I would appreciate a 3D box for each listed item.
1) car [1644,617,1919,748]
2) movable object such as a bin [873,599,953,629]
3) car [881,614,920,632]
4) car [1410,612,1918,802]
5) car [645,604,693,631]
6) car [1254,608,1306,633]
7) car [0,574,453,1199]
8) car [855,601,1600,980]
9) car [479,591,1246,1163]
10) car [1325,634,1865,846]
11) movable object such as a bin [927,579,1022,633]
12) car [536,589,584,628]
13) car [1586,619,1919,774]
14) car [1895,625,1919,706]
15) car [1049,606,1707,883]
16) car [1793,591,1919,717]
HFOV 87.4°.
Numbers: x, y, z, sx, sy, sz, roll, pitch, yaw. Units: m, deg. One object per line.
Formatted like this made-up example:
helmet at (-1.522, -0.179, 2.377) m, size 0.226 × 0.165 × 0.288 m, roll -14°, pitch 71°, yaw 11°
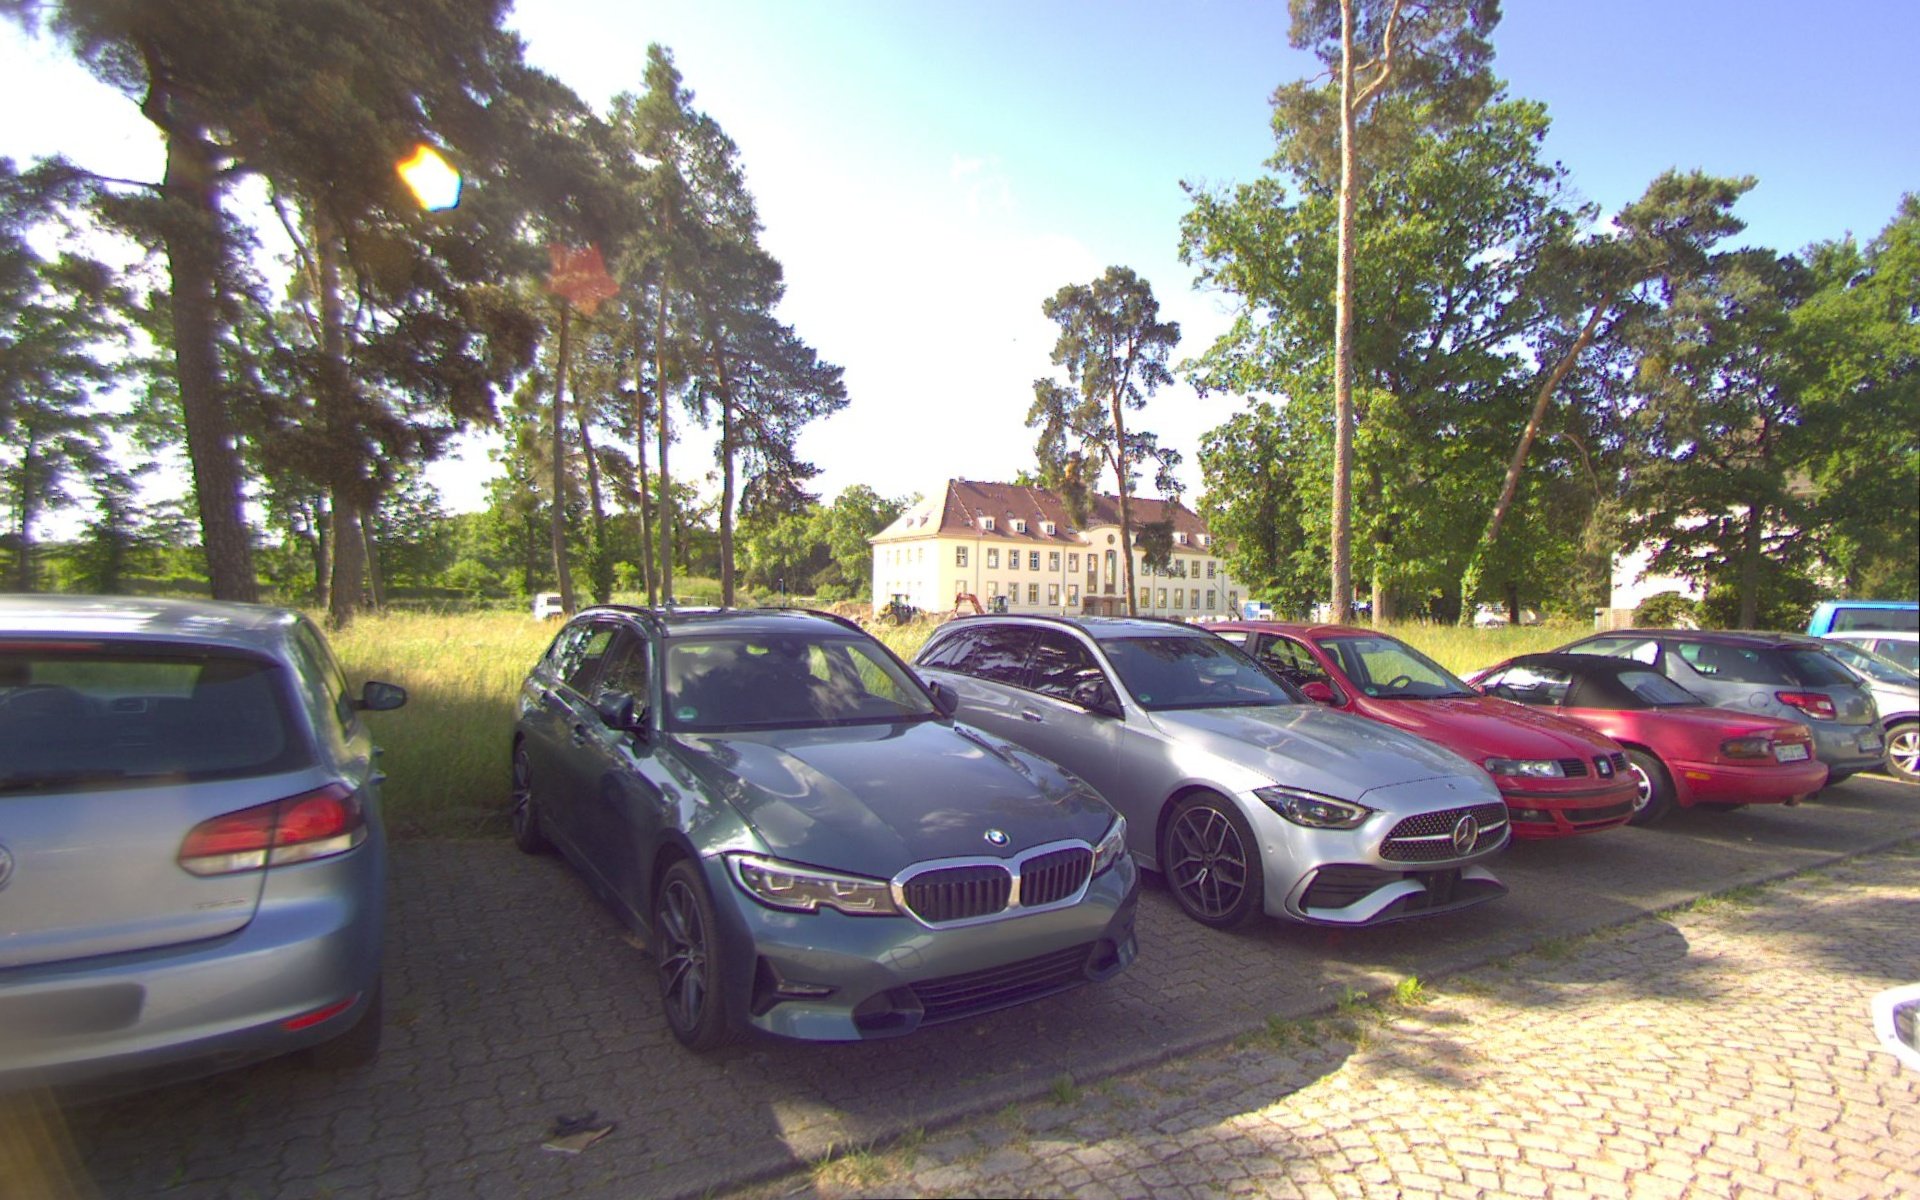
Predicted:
car at (12.095, 1.073, 13.714) m, size 1.803 × 1.495 × 4.174 m, roll 1°, pitch 1°, yaw -31°
movable object such as a bin at (-3.581, 1.092, 76.876) m, size 5.565 × 2.154 × 2.530 m, roll 1°, pitch -1°, yaw 15°
car at (-6.357, 2.449, 106.739) m, size 1.982 × 1.879 × 4.084 m, roll 2°, pitch -1°, yaw -43°
car at (7.214, 0.966, 10.768) m, size 1.800 × 1.471 × 4.057 m, roll 2°, pitch 0°, yaw -30°
car at (-18.245, 1.097, 62.876) m, size 1.890 × 1.626 × 4.209 m, roll 1°, pitch -1°, yaw -30°
car at (31.969, 2.039, 100.300) m, size 5.216 × 2.469 × 1.974 m, roll 1°, pitch -1°, yaw -31°
car at (-3.282, 0.673, 3.927) m, size 1.928 × 1.503 × 4.003 m, roll 1°, pitch 1°, yaw -33°
car at (1.199, 0.819, 6.720) m, size 1.916 × 1.440 × 4.840 m, roll 2°, pitch 0°, yaw -31°
car at (-1.008, 0.762, 5.170) m, size 1.964 × 1.471 × 4.551 m, roll 2°, pitch 0°, yaw -34°
car at (5.286, 1.036, 8.842) m, size 1.739 × 1.250 × 3.613 m, roll 2°, pitch 0°, yaw -30°
movable object such as a bin at (1.115, 0.473, 73.709) m, size 3.865 × 3.780 × 6.771 m, roll 0°, pitch -1°, yaw 34°
car at (-23.615, 0.491, 59.237) m, size 1.934 × 2.193 × 4.823 m, roll 1°, pitch -1°, yaw -30°
car at (9.956, 1.028, 11.735) m, size 1.900 × 1.444 × 4.057 m, roll 1°, pitch 1°, yaw -30°
car at (18.990, 1.261, 17.389) m, size 1.666 × 1.459 × 3.792 m, roll 1°, pitch 1°, yaw -34°
car at (2.940, 0.863, 8.324) m, size 1.916 × 1.440 × 4.840 m, roll 1°, pitch 1°, yaw -31°
car at (16.724, 0.934, 16.160) m, size 1.983 × 1.994 × 4.693 m, roll 1°, pitch 1°, yaw -31°
